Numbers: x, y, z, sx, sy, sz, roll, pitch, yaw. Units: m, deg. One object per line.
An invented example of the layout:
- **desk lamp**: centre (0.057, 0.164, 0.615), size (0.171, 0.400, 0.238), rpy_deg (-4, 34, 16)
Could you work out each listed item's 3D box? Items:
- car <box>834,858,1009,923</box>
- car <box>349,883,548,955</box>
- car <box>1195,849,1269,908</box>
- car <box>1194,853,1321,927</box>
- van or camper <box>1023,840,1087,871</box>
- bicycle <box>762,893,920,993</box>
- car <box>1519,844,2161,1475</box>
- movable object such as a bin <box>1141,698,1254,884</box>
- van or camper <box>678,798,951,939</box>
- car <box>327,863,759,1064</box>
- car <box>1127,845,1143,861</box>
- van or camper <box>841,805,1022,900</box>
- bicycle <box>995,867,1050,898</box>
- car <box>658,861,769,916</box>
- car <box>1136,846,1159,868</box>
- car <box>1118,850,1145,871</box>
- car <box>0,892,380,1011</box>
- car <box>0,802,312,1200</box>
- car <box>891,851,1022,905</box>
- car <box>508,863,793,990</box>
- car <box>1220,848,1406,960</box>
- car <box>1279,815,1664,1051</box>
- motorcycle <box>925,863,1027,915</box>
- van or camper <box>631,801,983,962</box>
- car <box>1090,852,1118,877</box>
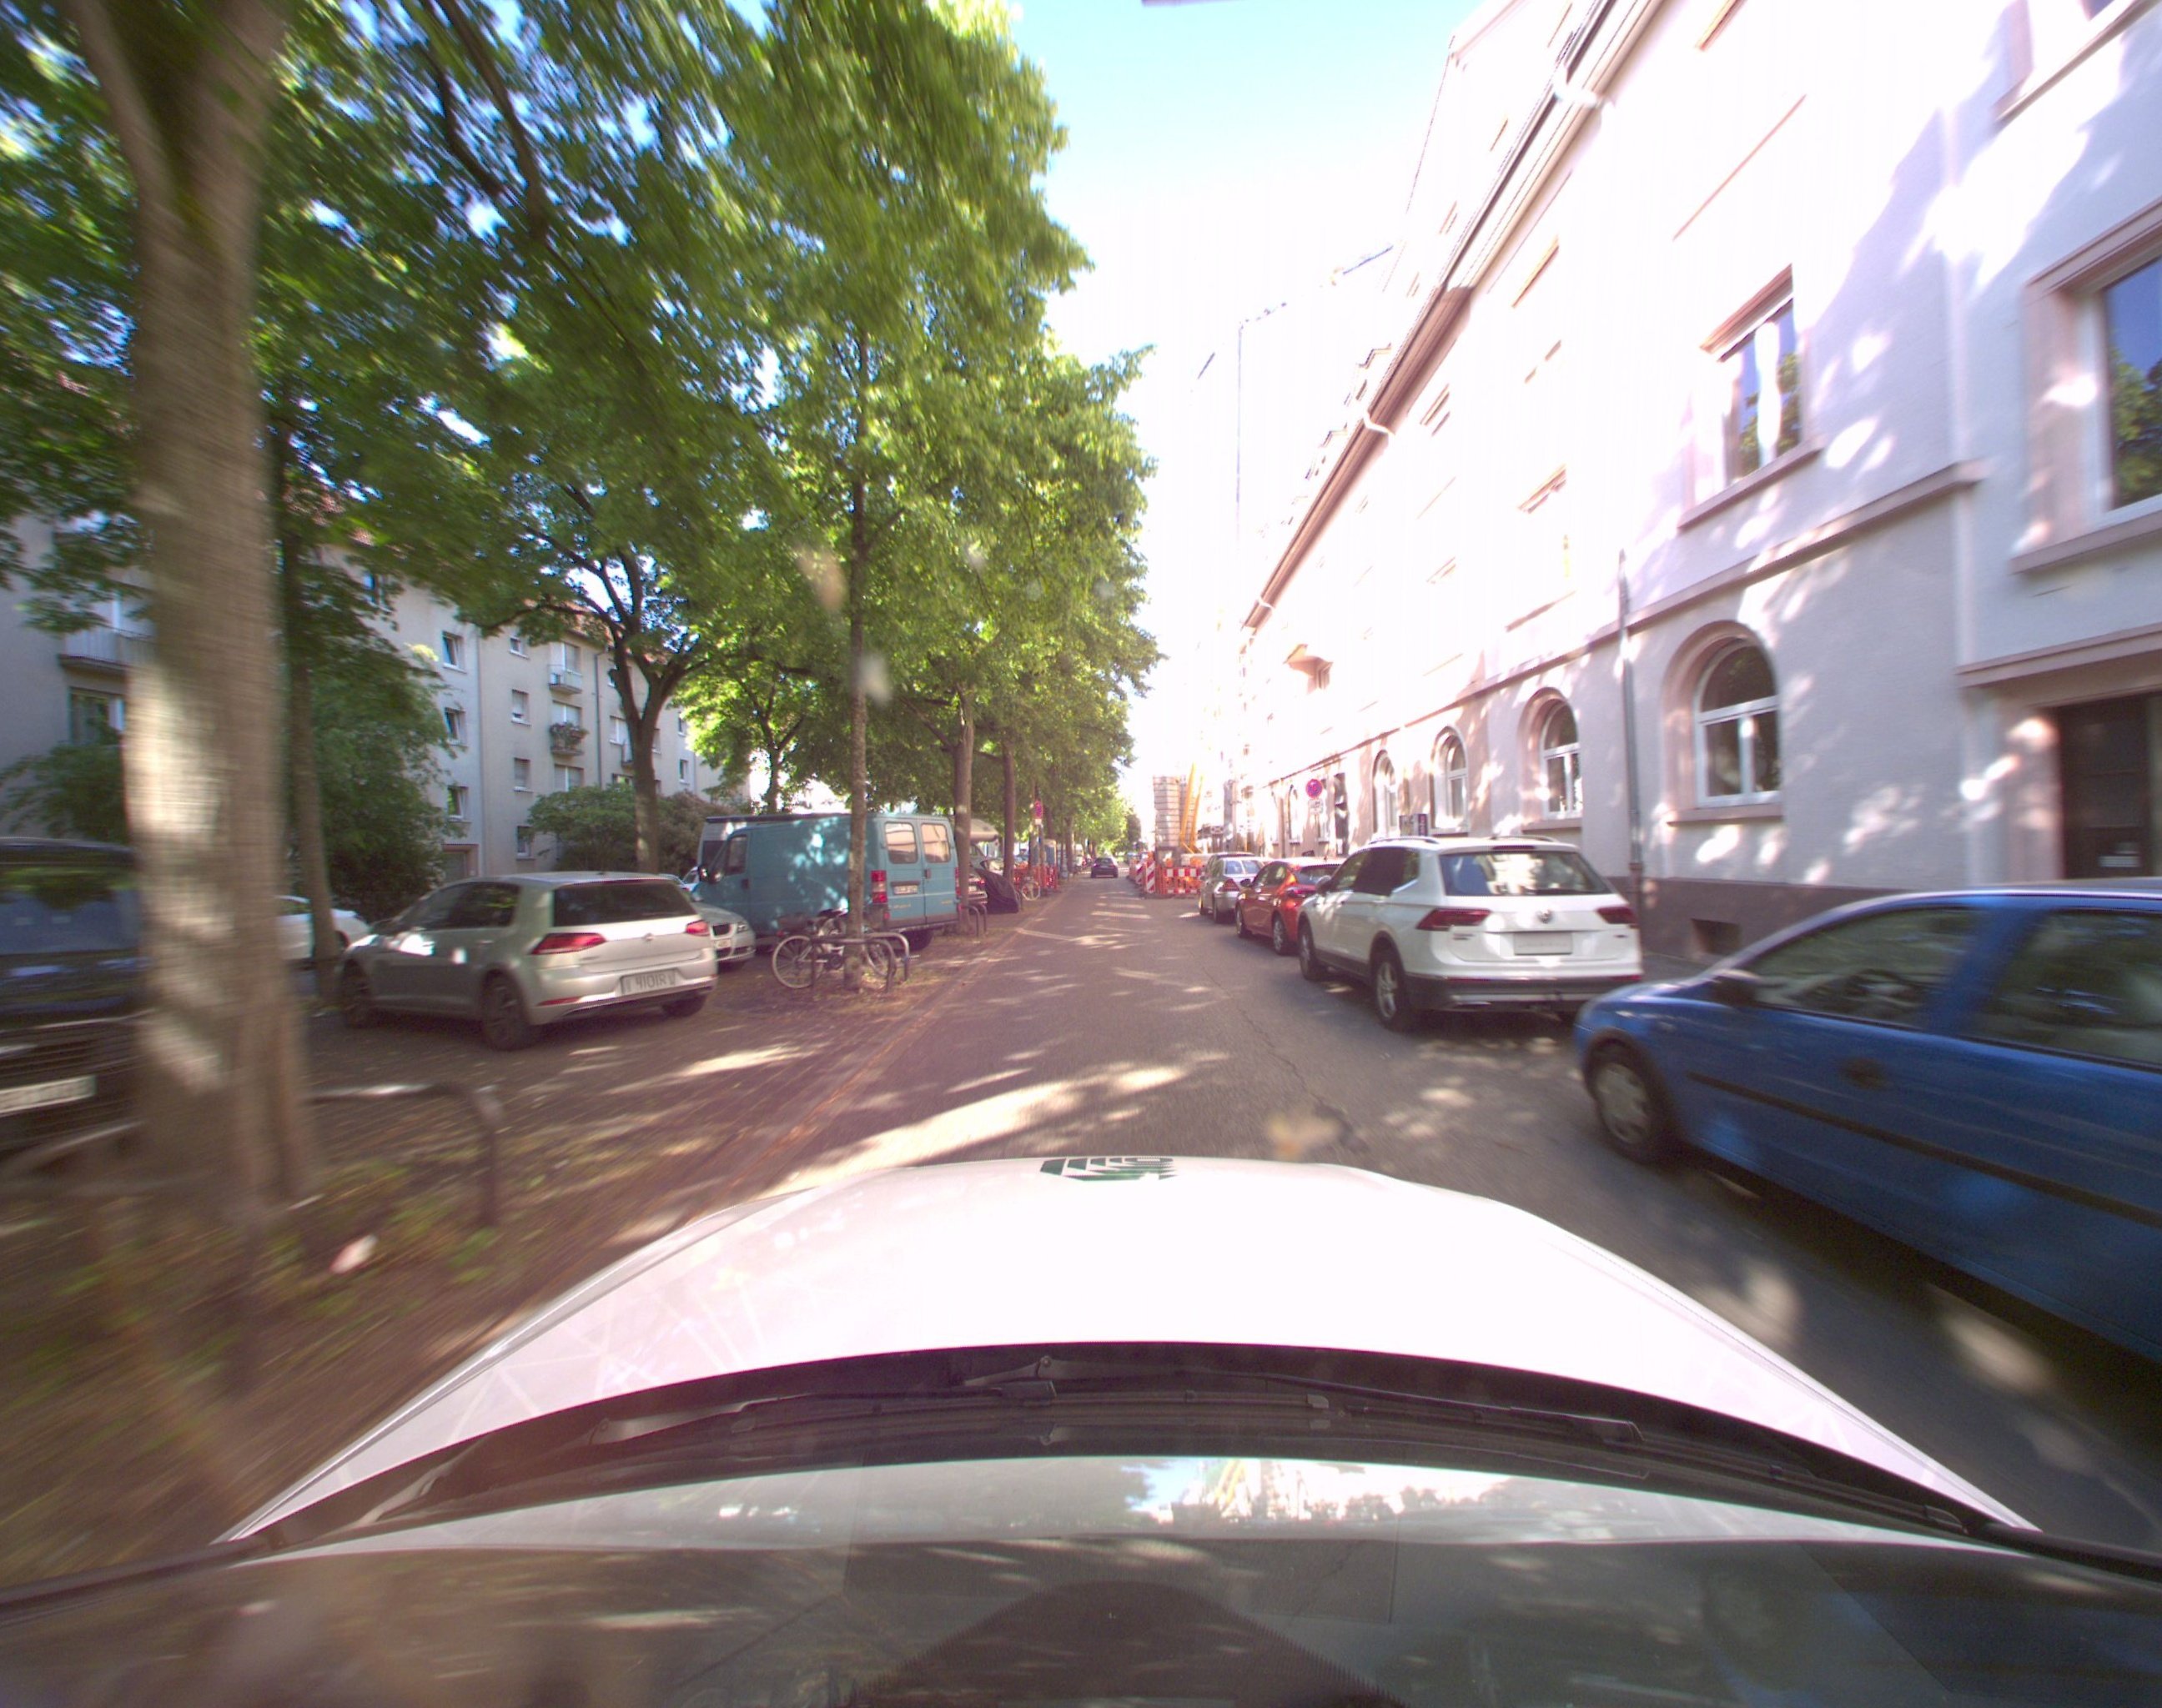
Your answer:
- **car**: centre (-3.967, 0.908, 20.172), size (3.915, 1.414, 1.834), rpy_deg (-2, 0, 29)
- **car**: centre (-14.485, 1.432, 18.925), size (1.611, 1.274, 3.669), rpy_deg (-2, 0, 2)
- **car**: centre (4.257, 0.651, 23.282), size (1.586, 1.530, 2.781), rpy_deg (-2, 0, 1)
- **car**: centre (3.896, 0.729, 18.791), size (1.987, 1.409, 4.501), rpy_deg (-2, 0, 1)
- **van or camper**: centre (-2.328, 0.136, 72.667), size (5.280, 2.474, 2.309), rpy_deg (-3, 0, 34)
- **bicycle**: centre (-2.900, 1.041, 9.902), size (1.729, 1.006, 0.507), rpy_deg (-3, 0, -29)
- **car**: centre (3.337, 0.702, 2.881), size (1.611, 1.412, 3.790), rpy_deg (-2, 0, 2)
- **movable object such as a bin**: centre (4.531, -2.289, 31.644), size (3.445, 6.759, 2.384), rpy_deg (-2, 0, 34)
- **van or camper**: centre (-5.881, 0.353, 17.712), size (5.811, 2.637, 2.269), rpy_deg (-3, 0, 31)
- **car**: centre (-5.237, 0.893, 7.859), size (3.905, 1.443, 1.858), rpy_deg (-2, 0, 30)
- **car**: centre (6.615, -0.130, 99.984), size (1.791, 1.800, 3.586), rpy_deg (-3, 0, 1)
- **van or camper**: centre (-5.758, 0.012, 31.043), size (6.592, 3.240, 2.511), rpy_deg (-3, 0, 30)
- **bicycle**: centre (-2.039, 0.978, 28.234), size (1.879, 1.006, 0.433), rpy_deg (-2, 0, 25)
- **car**: centre (-14.098, 1.253, 31.613), size (1.810, 1.803, 4.849), rpy_deg (-4, 0, 3)
- **car**: centre (5.985, 0.231, 73.566), size (1.791, 1.800, 3.586), rpy_deg (-3, 0, 1)
- **car**: centre (3.665, 0.484, 59.557), size (1.791, 1.385, 3.586), rpy_deg (-3, 0, 1)
- **car**: centre (-14.839, 1.510, 13.973), size (1.657, 1.424, 4.365), rpy_deg (-2, 0, 2)
- **car**: centre (-6.663, 0.719, 4.899), size (4.501, 1.764, 1.822), rpy_deg (-2, 0, 32)
- **car**: centre (-4.146, 0.804, 27.037), size (3.916, 1.629, 1.834), rpy_deg (-2, 0, 27)
- **car**: centre (-6.072, 0.927, 11.382), size (3.947, 1.430, 1.732), rpy_deg (-2, 0, 32)
- **car**: centre (3.654, 0.698, 13.604), size (1.786, 1.523, 3.960), rpy_deg (-2, 0, -3)
- **car**: centre (3.451, 0.565, 8.359), size (1.809, 1.674, 4.676), rpy_deg (-2, 0, 2)
- **motorcycle**: centre (-2.797, 0.941, 21.799), size (2.534, 1.258, 0.765), rpy_deg (-2, 0, 9)
- **van or camper**: centre (-4.628, 0.472, 13.649), size (5.447, 2.275, 2.234), rpy_deg (-3, 0, 25)
- **car**: centre (1.541, 0.689, 55.528), size (1.791, 1.503, 3.586), rpy_deg (-3, 0, 1)
